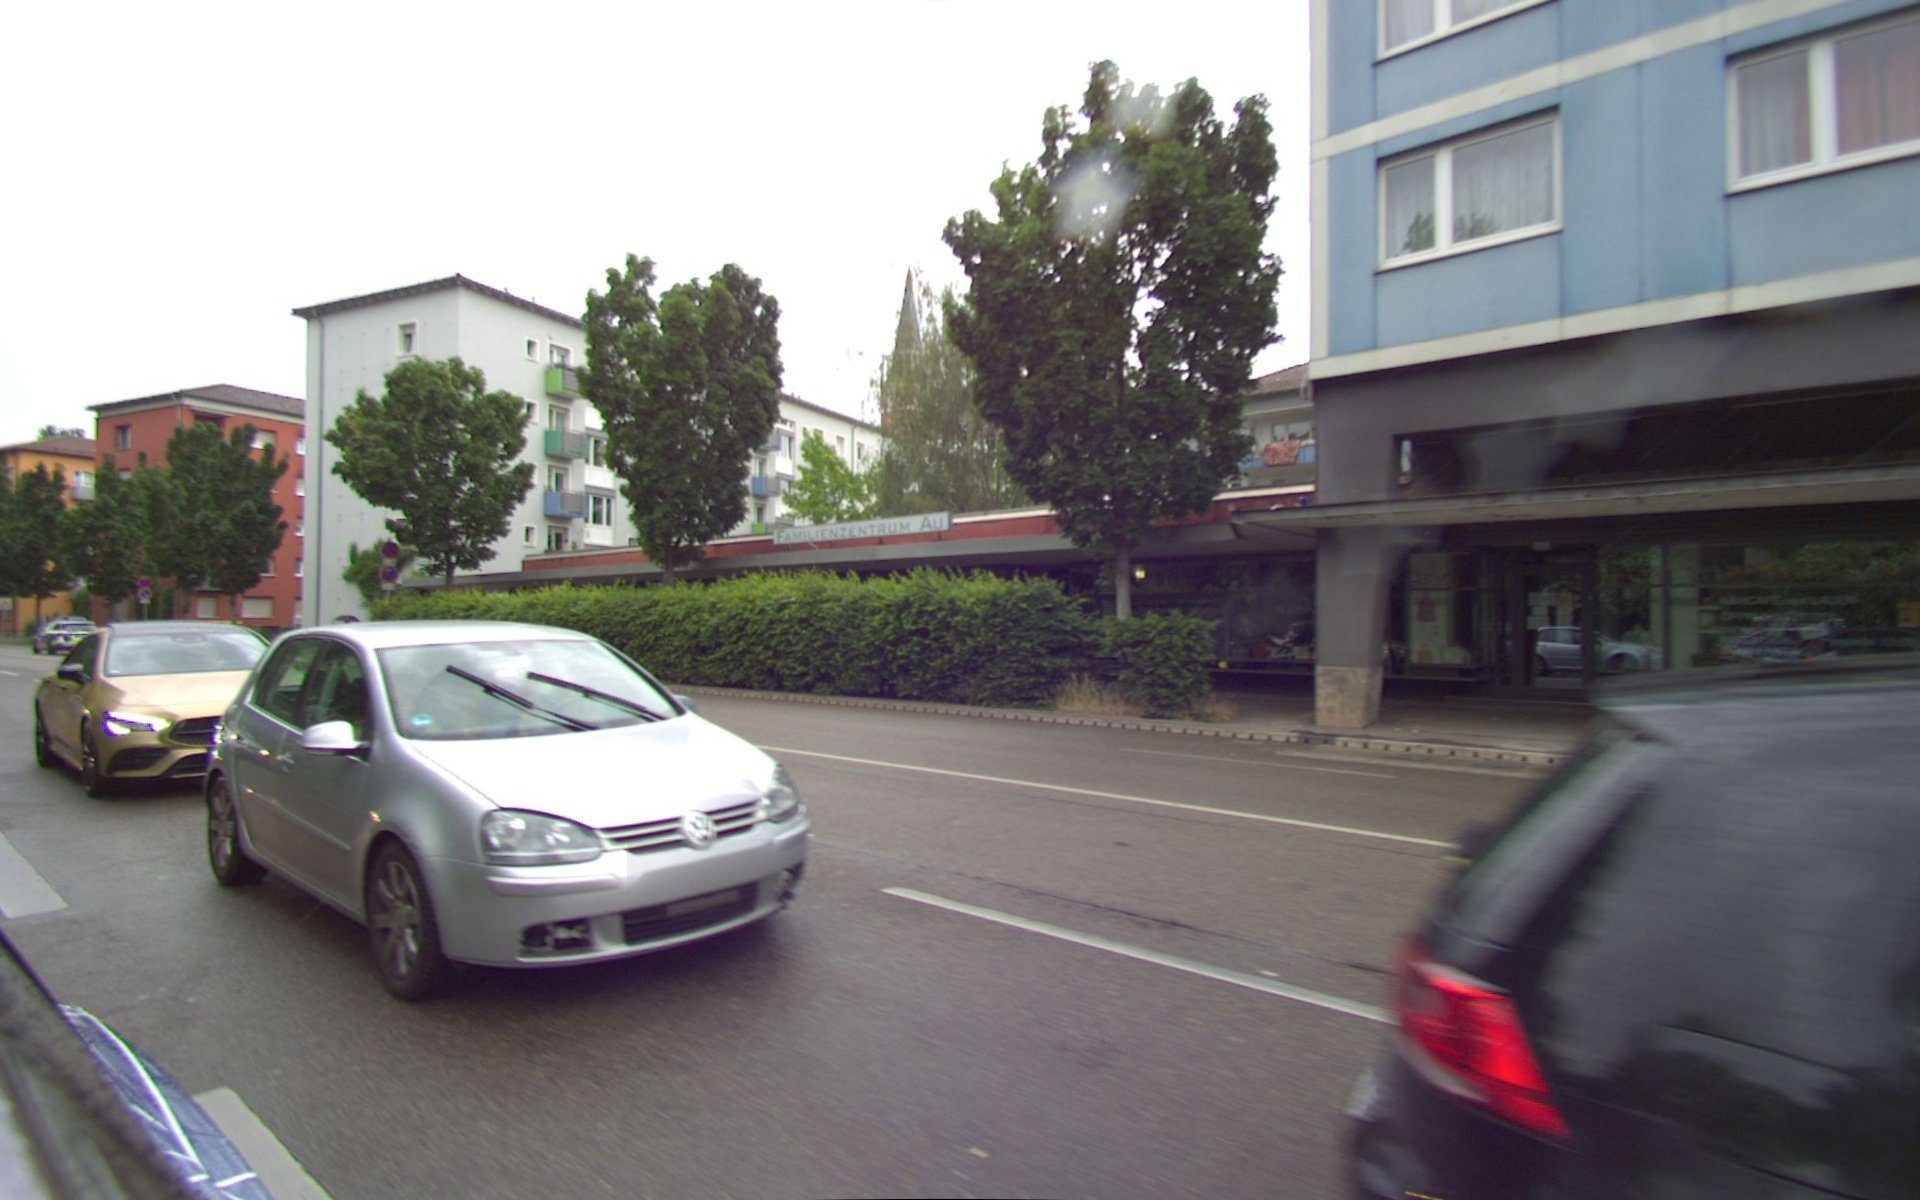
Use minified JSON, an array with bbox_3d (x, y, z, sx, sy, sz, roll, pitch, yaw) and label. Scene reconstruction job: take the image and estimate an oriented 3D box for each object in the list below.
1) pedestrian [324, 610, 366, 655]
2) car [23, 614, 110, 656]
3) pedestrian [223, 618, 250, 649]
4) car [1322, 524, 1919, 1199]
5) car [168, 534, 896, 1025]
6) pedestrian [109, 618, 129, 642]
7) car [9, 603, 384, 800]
[{"bbox_3d":[-25.620,1.355,42.167,1.261,1.817,1.124,-2,-2,37],"label":"pedestrian"},{"bbox_3d":[-39.431,1.531,44.642,4.800,1.763,1.975,-1,-2,37],"label":"car"},{"bbox_3d":[-35.725,1.651,49.970,1.066,1.529,0.687,-1,-3,32],"label":"pedestrian"},{"bbox_3d":[2.560,0.648,0.703,3.998,1.464,1.737,-2,-2,41],"label":"car"},{"bbox_3d":[-2.413,0.599,5.128,4.159,1.498,1.726,-1,-2,41],"label":"car"},{"bbox_3d":[-50.954,1.824,61.327,0.833,1.460,0.666,-1,-3,31],"label":"pedestrian"},{"bbox_3d":[-7.602,0.802,9.897,4.584,1.475,2.044,-1,-2,41],"label":"car"}]
